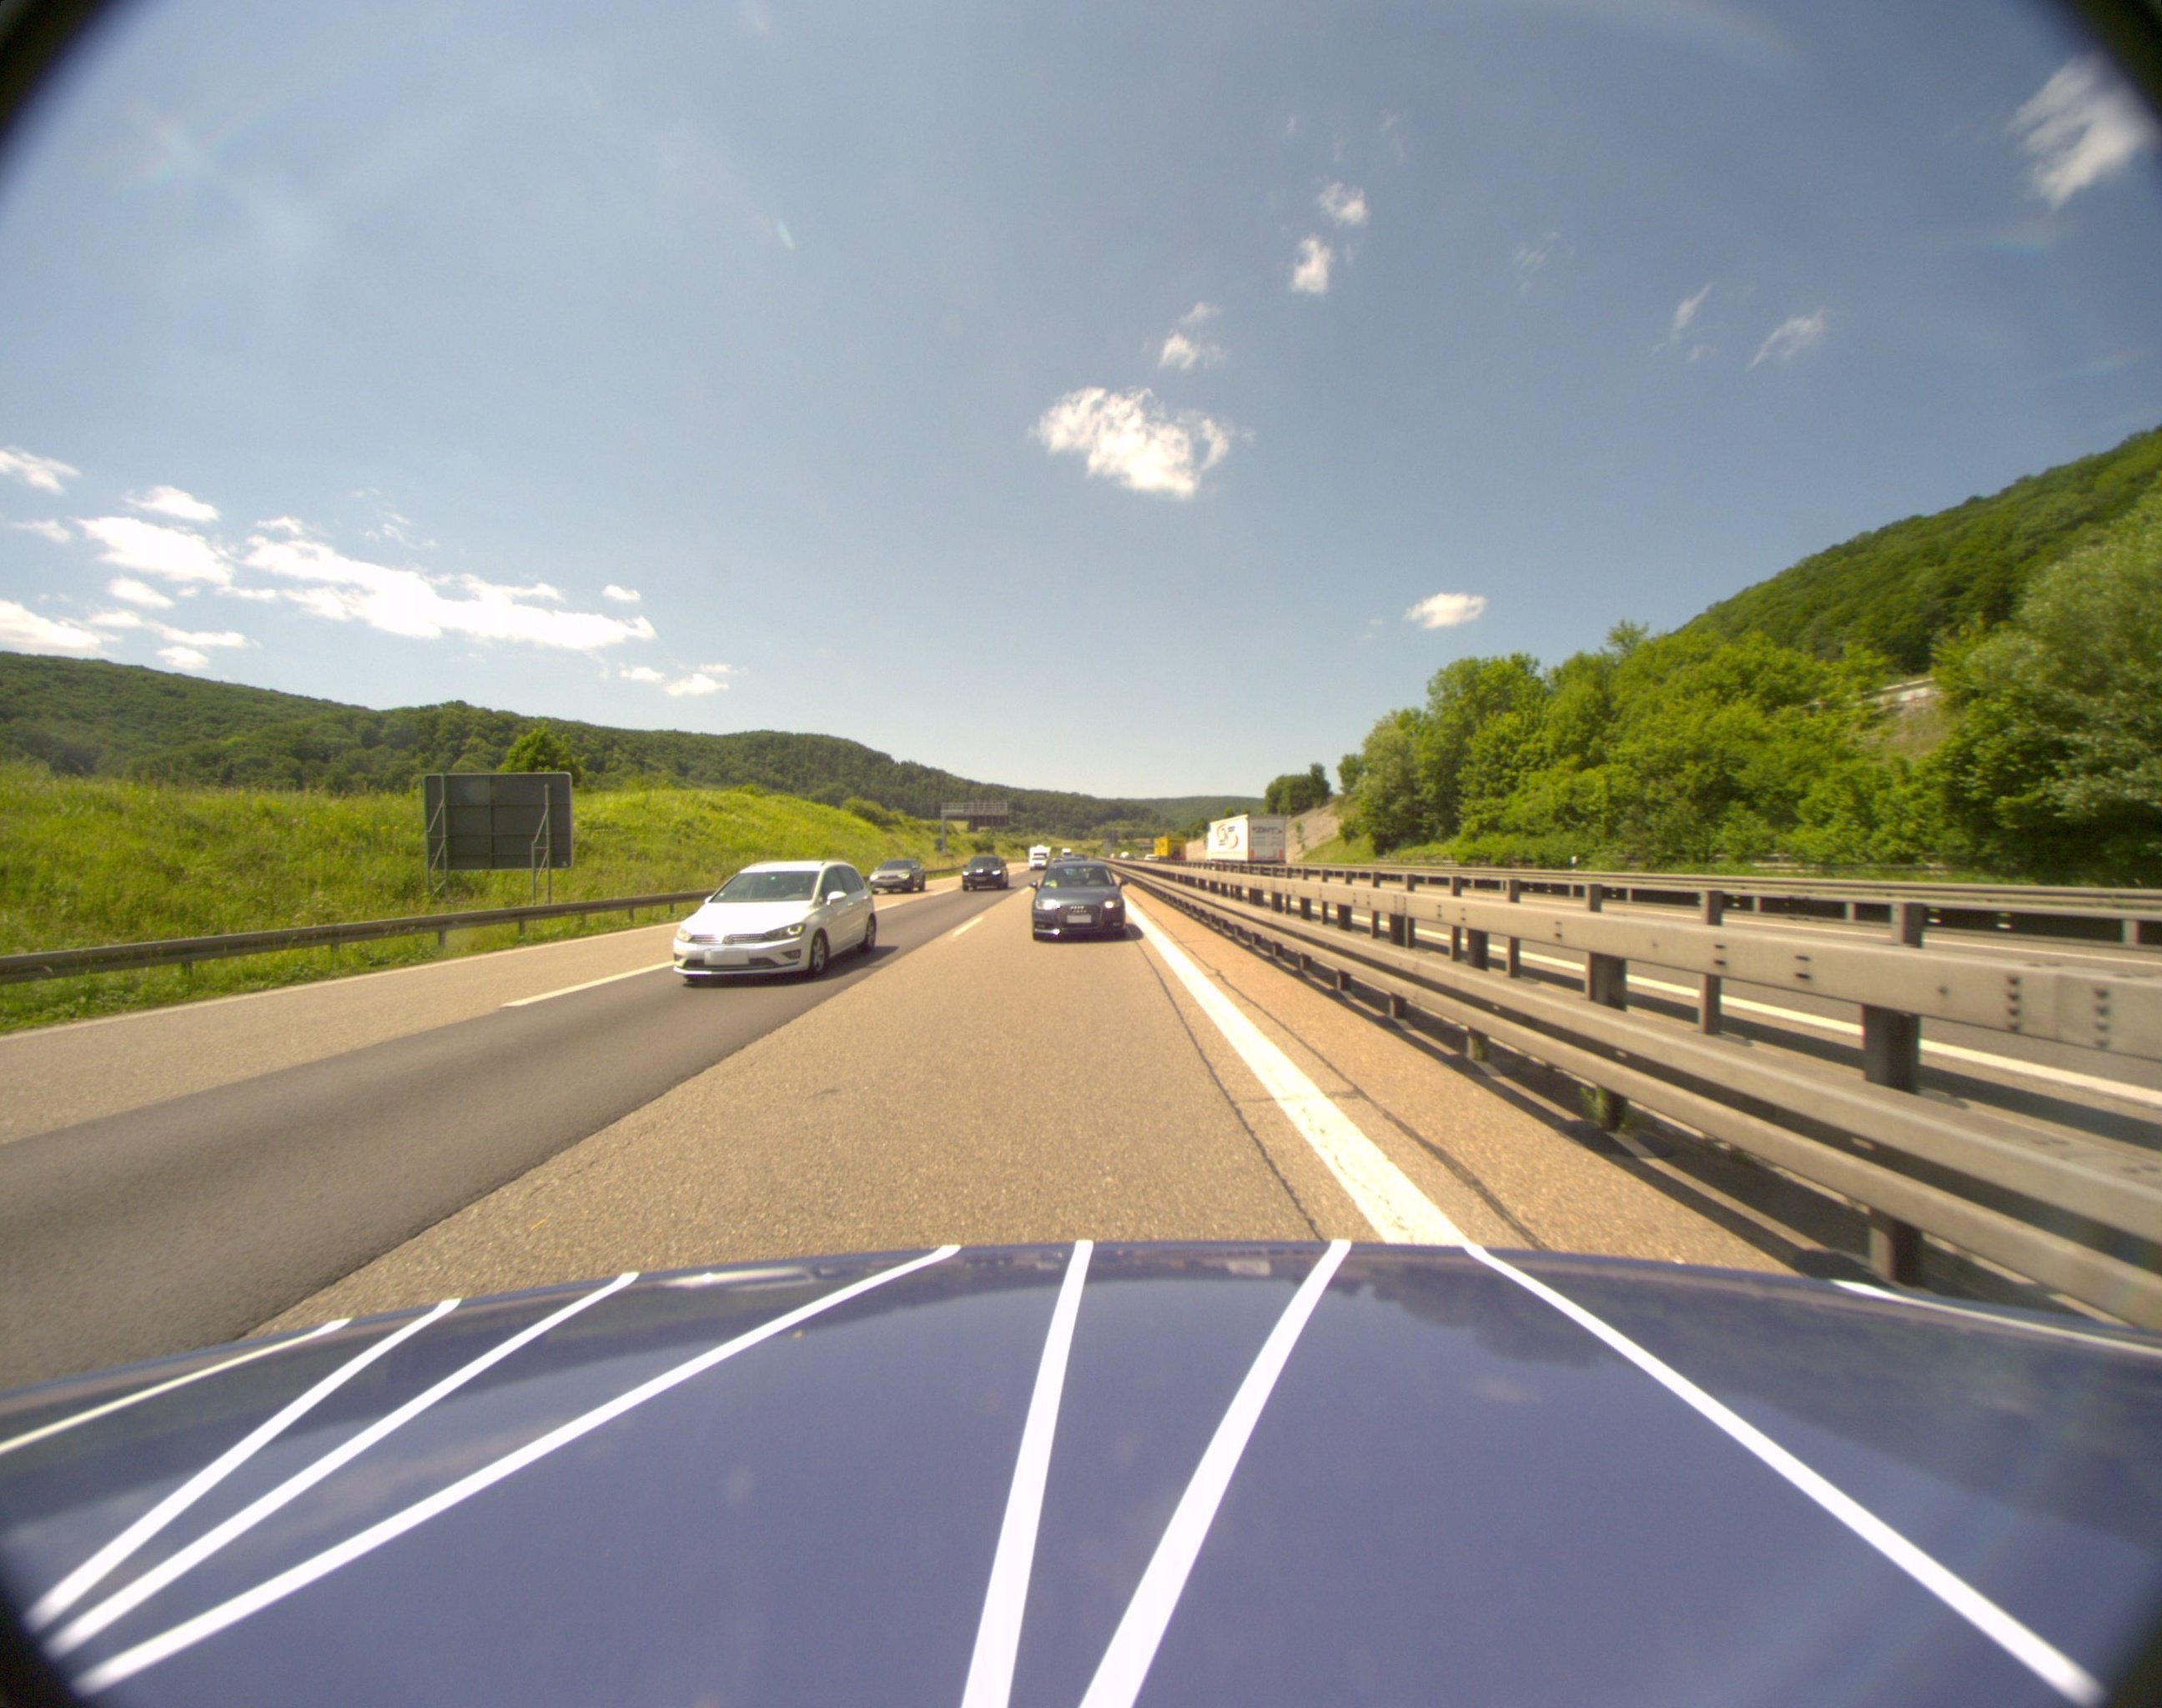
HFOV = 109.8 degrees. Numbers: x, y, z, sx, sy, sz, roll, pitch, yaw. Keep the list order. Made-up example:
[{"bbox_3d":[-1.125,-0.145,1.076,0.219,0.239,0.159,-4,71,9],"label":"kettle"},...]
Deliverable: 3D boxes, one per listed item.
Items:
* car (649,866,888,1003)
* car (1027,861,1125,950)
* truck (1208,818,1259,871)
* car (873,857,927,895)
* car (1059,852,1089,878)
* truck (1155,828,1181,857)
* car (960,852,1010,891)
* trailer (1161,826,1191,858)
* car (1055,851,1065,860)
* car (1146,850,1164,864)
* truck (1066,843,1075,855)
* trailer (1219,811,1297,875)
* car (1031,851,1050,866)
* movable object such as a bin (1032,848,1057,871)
[{"bbox_3d":[-4.303,1.007,11.239,1.777,1.532,4.054,-2,0,0],"label":"car"},{"bbox_3d":[0.027,0.889,14.846,1.591,1.402,4.001,-2,0,4],"label":"car"},{"bbox_3d":[12.271,-0.784,61.712,2.916,4.078,5.847,1,1,0],"label":"truck"},{"bbox_3d":[-8.571,0.995,36.267,1.684,1.585,4.247,-2,0,-3],"label":"car"},{"bbox_3d":[-0.436,0.701,49.869,1.835,1.586,4.000,-1,0,1],"label":"car"},{"bbox_3d":[13.120,-1.649,115.296,2.834,4.123,9.614,-2,0,1],"label":"truck"},{"bbox_3d":[-4.553,0.801,36.550,1.893,1.761,4.171,-1,0,-1],"label":"car"},{"bbox_3d":[13.007,-1.586,105.189,2.834,4.123,10.404,-2,0,1],"label":"trailer"},{"bbox_3d":[-3.818,0.238,137.523,1.711,1.542,4.000,-1,0,1],"label":"car"},{"bbox_3d":[8.705,0.342,89.925,1.751,1.510,4.000,-2,0,0],"label":"car"},{"bbox_3d":[-3.261,-1.488,229.416,2.336,3.623,7.005,-2,0,1],"label":"truck"},{"bbox_3d":[12.281,-0.705,53.950,2.863,4.052,11.262,0,0,0],"label":"trailer"},{"bbox_3d":[-4.452,0.505,84.418,1.821,1.574,4.000,-1,0,1],"label":"car"},{"bbox_3d":[-4.385,0.586,91.569,2.481,2.616,6.708,-2,0,1],"label":"movable object such as a bin"}]
